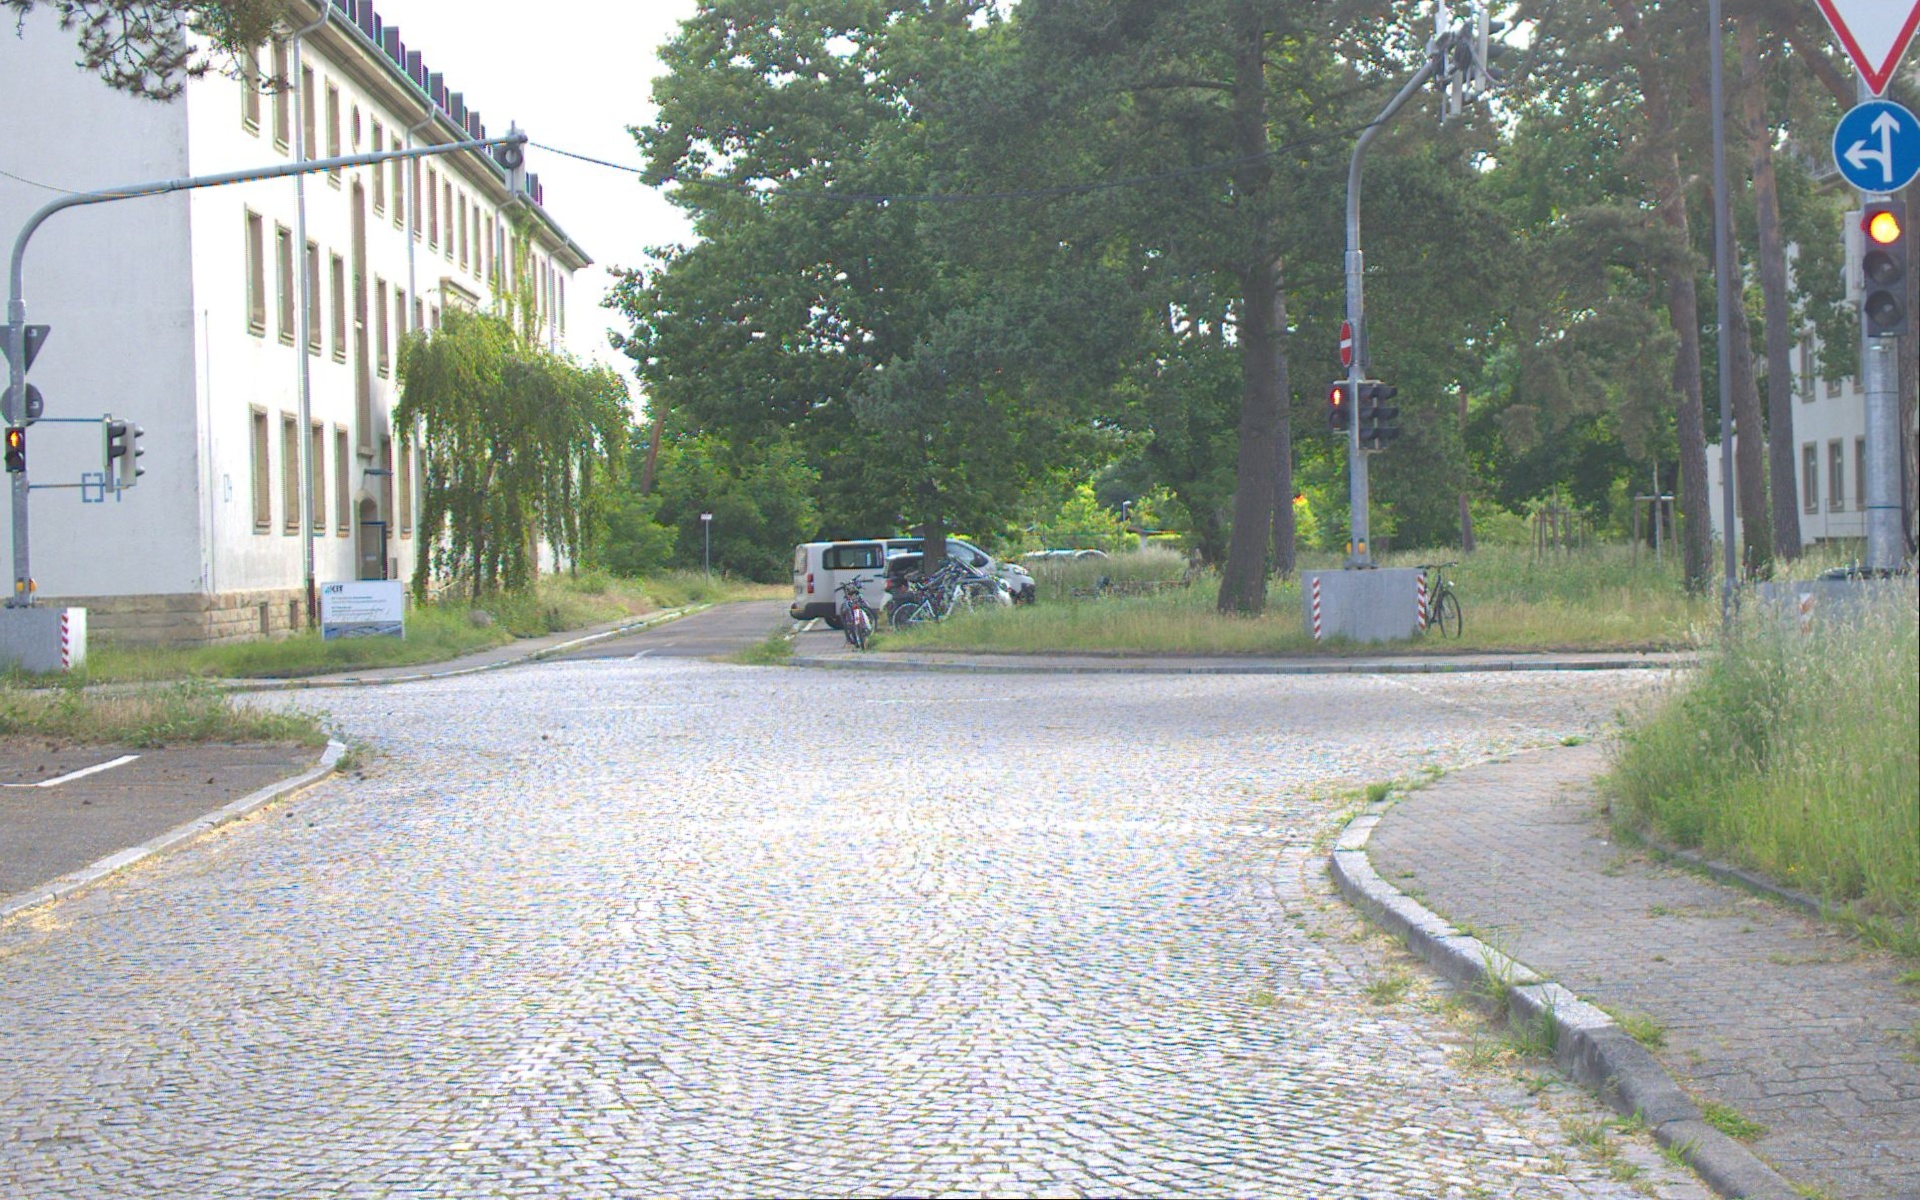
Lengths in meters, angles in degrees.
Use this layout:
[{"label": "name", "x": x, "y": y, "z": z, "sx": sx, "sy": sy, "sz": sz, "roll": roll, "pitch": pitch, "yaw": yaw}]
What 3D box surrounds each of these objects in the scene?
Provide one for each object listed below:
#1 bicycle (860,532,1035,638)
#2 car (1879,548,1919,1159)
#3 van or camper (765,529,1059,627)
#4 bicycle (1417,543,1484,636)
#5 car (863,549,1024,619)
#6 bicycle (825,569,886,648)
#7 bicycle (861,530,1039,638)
[{"label": "bicycle", "x": -0.223, "y": -0.257, "z": 57.869, "sx": 2.775, "sy": 1.688, "sz": 1.120, "roll": -2, "pitch": 1, "yaw": -8}, {"label": "car", "x": 4.220, "y": 0.554, "z": 7.663, "sx": 3.842, "sy": 1.466, "sz": 1.642, "roll": -2, "pitch": 1, "yaw": -1}, {"label": "van or camper", "x": -1.058, "y": -0.486, "z": 74.637, "sx": 6.030, "sy": 1.942, "sz": 2.001, "roll": -2, "pitch": 1, "yaw": -14}, {"label": "bicycle", "x": 6.402, "y": -0.147, "z": 44.944, "sx": 0.724, "sy": 1.165, "sz": 2.736, "roll": 0, "pitch": 1, "yaw": 5}, {"label": "car", "x": -0.357, "y": -0.333, "z": 71.068, "sx": 3.137, "sy": 1.349, "sz": 1.620, "roll": -1, "pitch": 1, "yaw": -6}, {"label": "bicycle", "x": -1.582, "y": 0.118, "z": 52.384, "sx": 0.725, "sy": 1.104, "sz": 2.462, "roll": -6, "pitch": 1, "yaw": 0}, {"label": "bicycle", "x": -0.175, "y": -0.267, "z": 56.675, "sx": 2.775, "sy": 1.688, "sz": 1.120, "roll": -1, "pitch": 1, "yaw": -6}]
